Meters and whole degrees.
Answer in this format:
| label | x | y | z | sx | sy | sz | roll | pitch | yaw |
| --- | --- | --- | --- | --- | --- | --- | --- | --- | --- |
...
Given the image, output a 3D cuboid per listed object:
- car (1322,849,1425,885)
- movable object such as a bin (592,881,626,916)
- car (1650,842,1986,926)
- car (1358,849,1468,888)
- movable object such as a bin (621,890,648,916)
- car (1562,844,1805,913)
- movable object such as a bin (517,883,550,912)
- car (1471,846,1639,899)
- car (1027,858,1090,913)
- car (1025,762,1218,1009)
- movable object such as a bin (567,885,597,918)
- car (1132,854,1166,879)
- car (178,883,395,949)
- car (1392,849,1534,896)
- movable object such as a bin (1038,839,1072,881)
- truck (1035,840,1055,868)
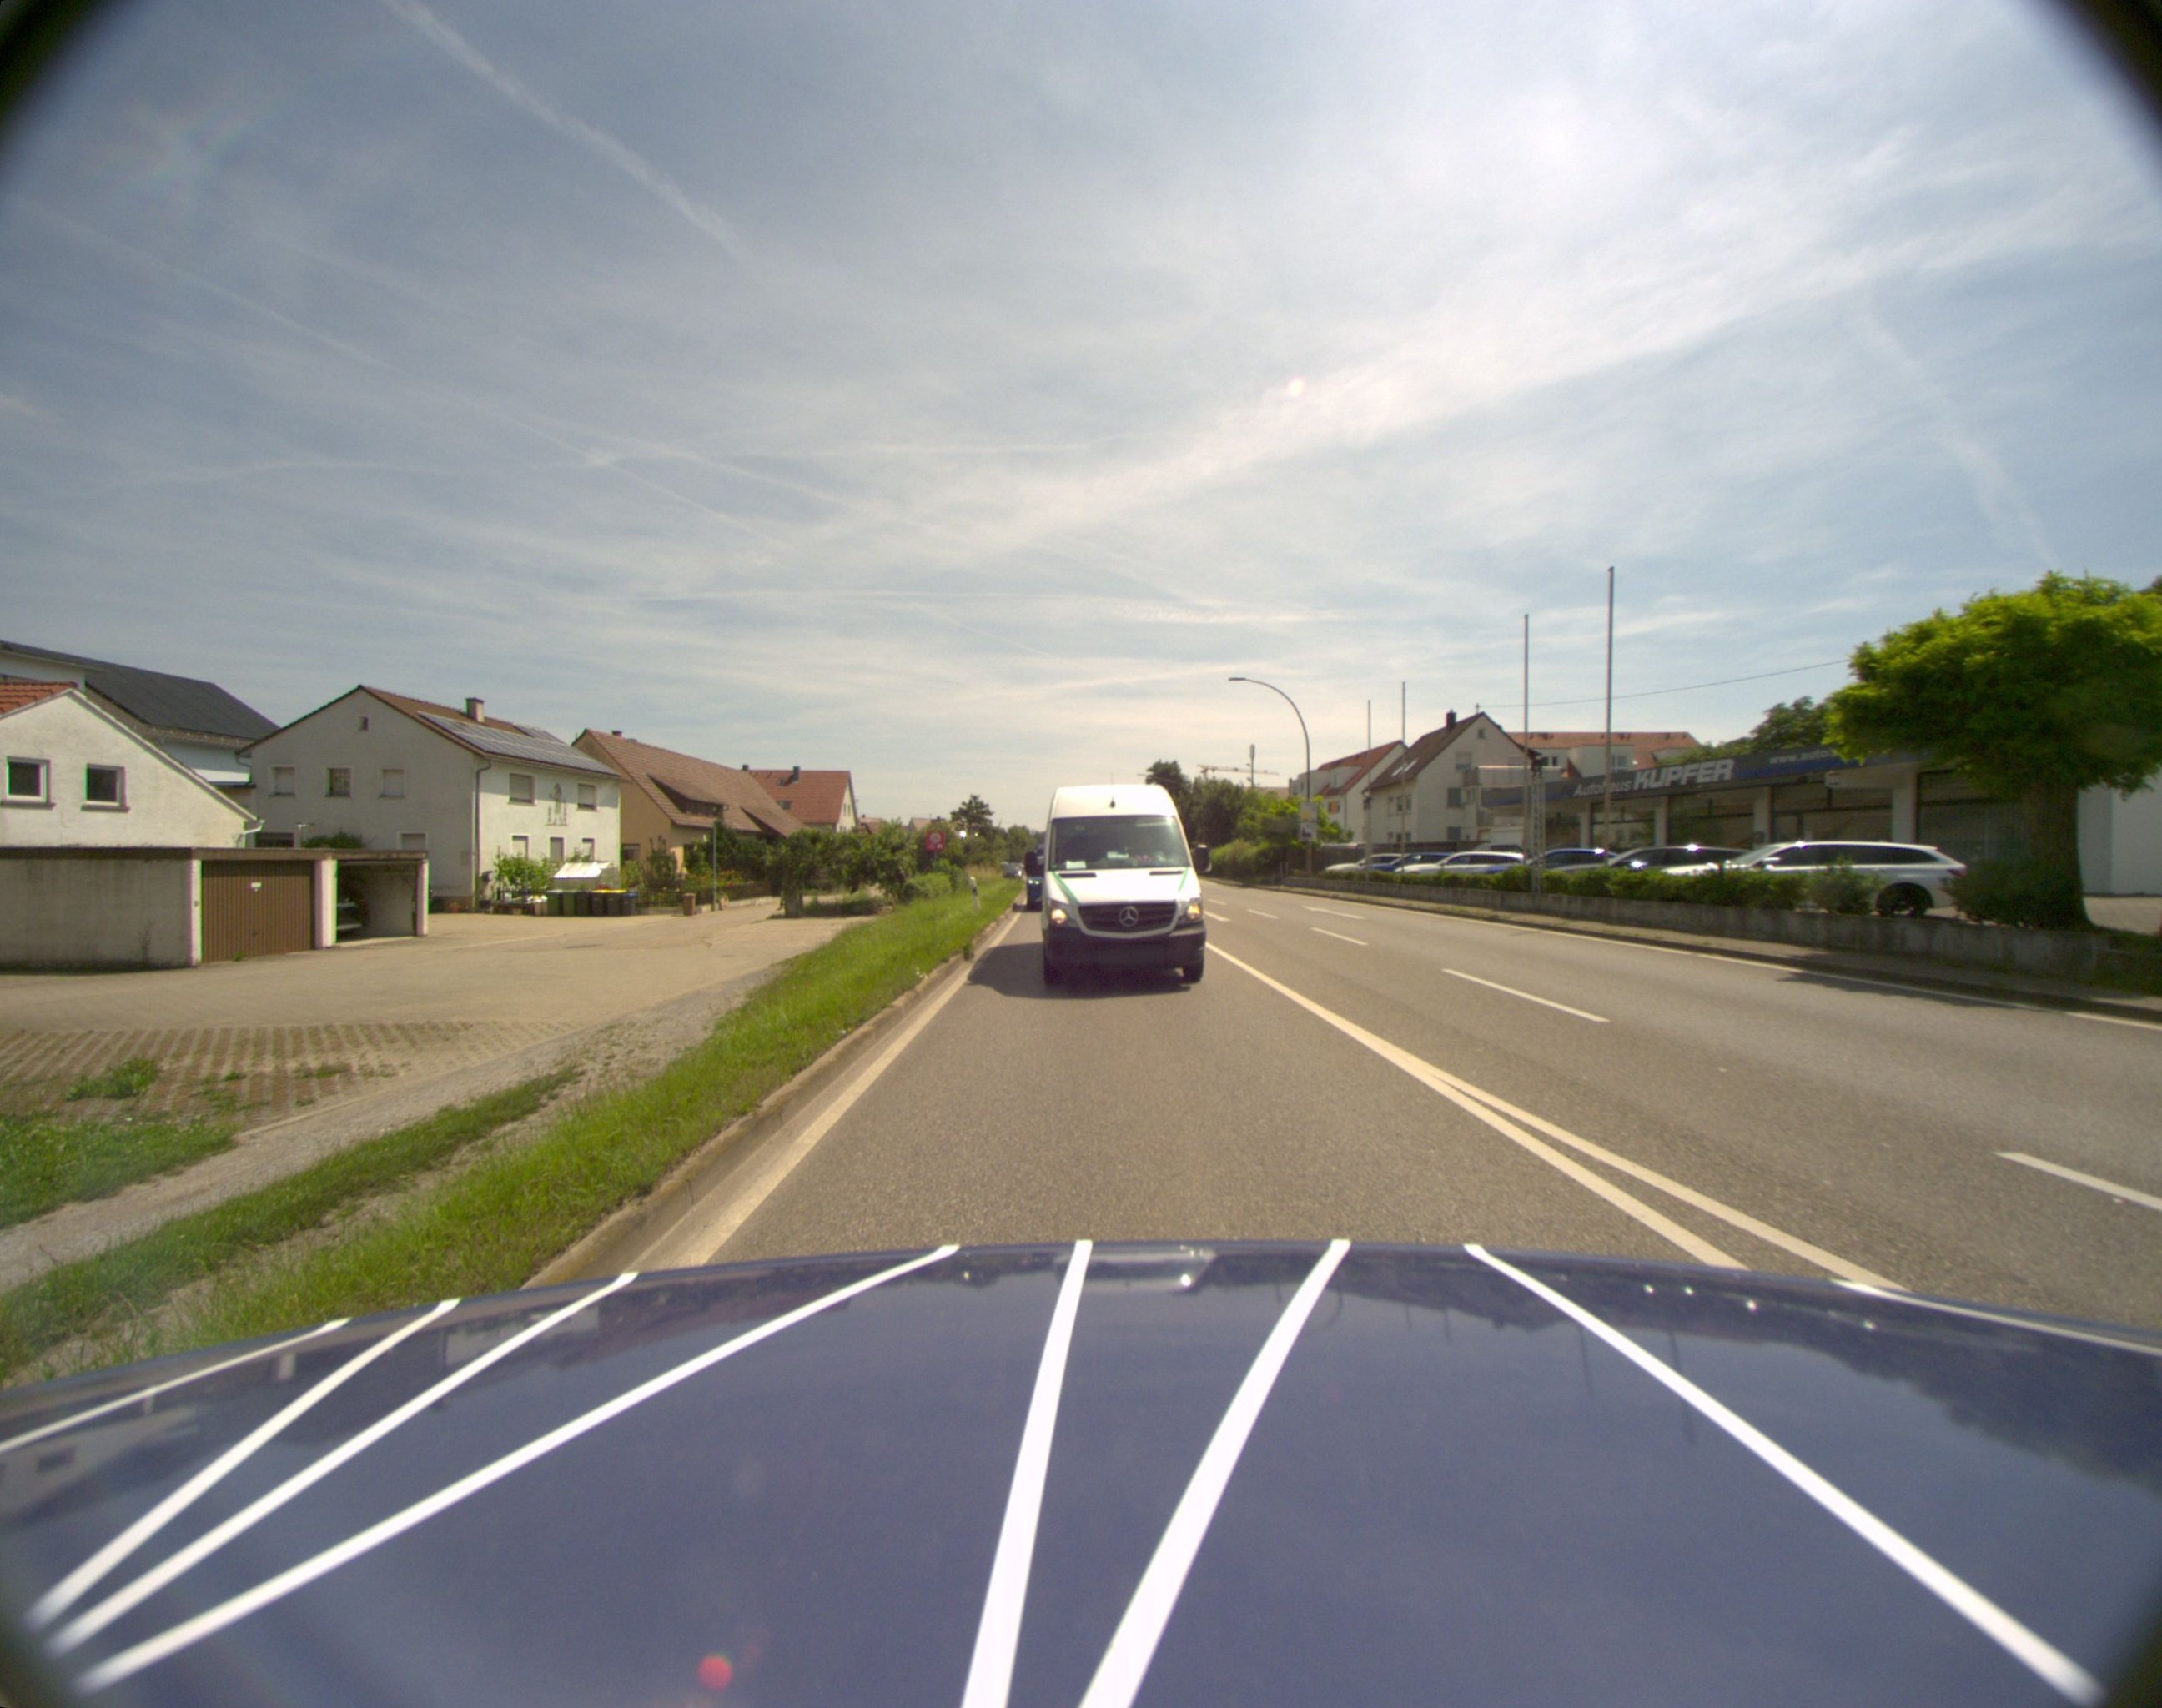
| label | x | y | z | sx | sy | sz | roll | pitch | yaw |
| --- | --- | --- | --- | --- | --- | --- | --- | --- | --- |
| car | 13.562 | 0.601 | 35.201 | 4.255 | 1.521 | 2.003 | -2 | 0 | 26 |
| movable object such as a bin | -19.874 | 1.863 | 32.007 | 0.765 | 1.362 | 0.946 | -2 | 0 | -1 |
| car | 14.038 | 0.561 | 14.856 | 4.329 | 1.451 | 1.858 | -2 | 0 | 24 |
| car | 13.617 | 0.584 | 31.218 | 3.990 | 1.455 | 2.003 | -2 | 0 | 26 |
| movable object such as a bin | -18.864 | 2.051 | 32.100 | 0.645 | 1.021 | 0.756 | -2 | 0 | -1 |
| car | 14.390 | 0.599 | 18.486 | 4.251 | 1.536 | 1.853 | -2 | 0 | 23 |
| movable object such as a bin | -23.065 | 1.843 | 32.020 | 0.740 | 1.149 | 0.830 | -2 | 0 | -1 |
| car | 13.891 | 0.560 | 22.552 | 3.990 | 1.433 | 1.857 | -2 | 0 | 25 |
| car | -0.685 | 0.932 | 24.232 | 1.824 | 1.574 | 3.901 | -1 | 0 | -1 |
| car | 0.399 | 0.348 | 10.952 | 1.978 | 2.583 | 5.633 | -2 | 0 | -1 |
| movable object such as a bin | -21.211 | 2.002 | 32.306 | 0.678 | 1.330 | 0.820 | -2 | 0 | -1 |
| car | 4.858 | 0.857 | 54.778 | 1.851 | 1.645 | 4.402 | -2 | 0 | -3 |
| car | -21.568 | 1.649 | 20.755 | 3.997 | 1.594 | 1.826 | -1 | 0 | 0 |
| car | 13.470 | 0.654 | 26.940 | 4.303 | 1.510 | 2.003 | -2 | 0 | 27 |
| movable object such as a bin | -1.734 | 0.404 | 53.091 | 1.998 | 2.710 | 5.419 | -2 | 0 | 1 |
| truck | -5.144 | 0.038 | 109.353 | 2.506 | 3.847 | 5.497 | -2 | 0 | -1 |
